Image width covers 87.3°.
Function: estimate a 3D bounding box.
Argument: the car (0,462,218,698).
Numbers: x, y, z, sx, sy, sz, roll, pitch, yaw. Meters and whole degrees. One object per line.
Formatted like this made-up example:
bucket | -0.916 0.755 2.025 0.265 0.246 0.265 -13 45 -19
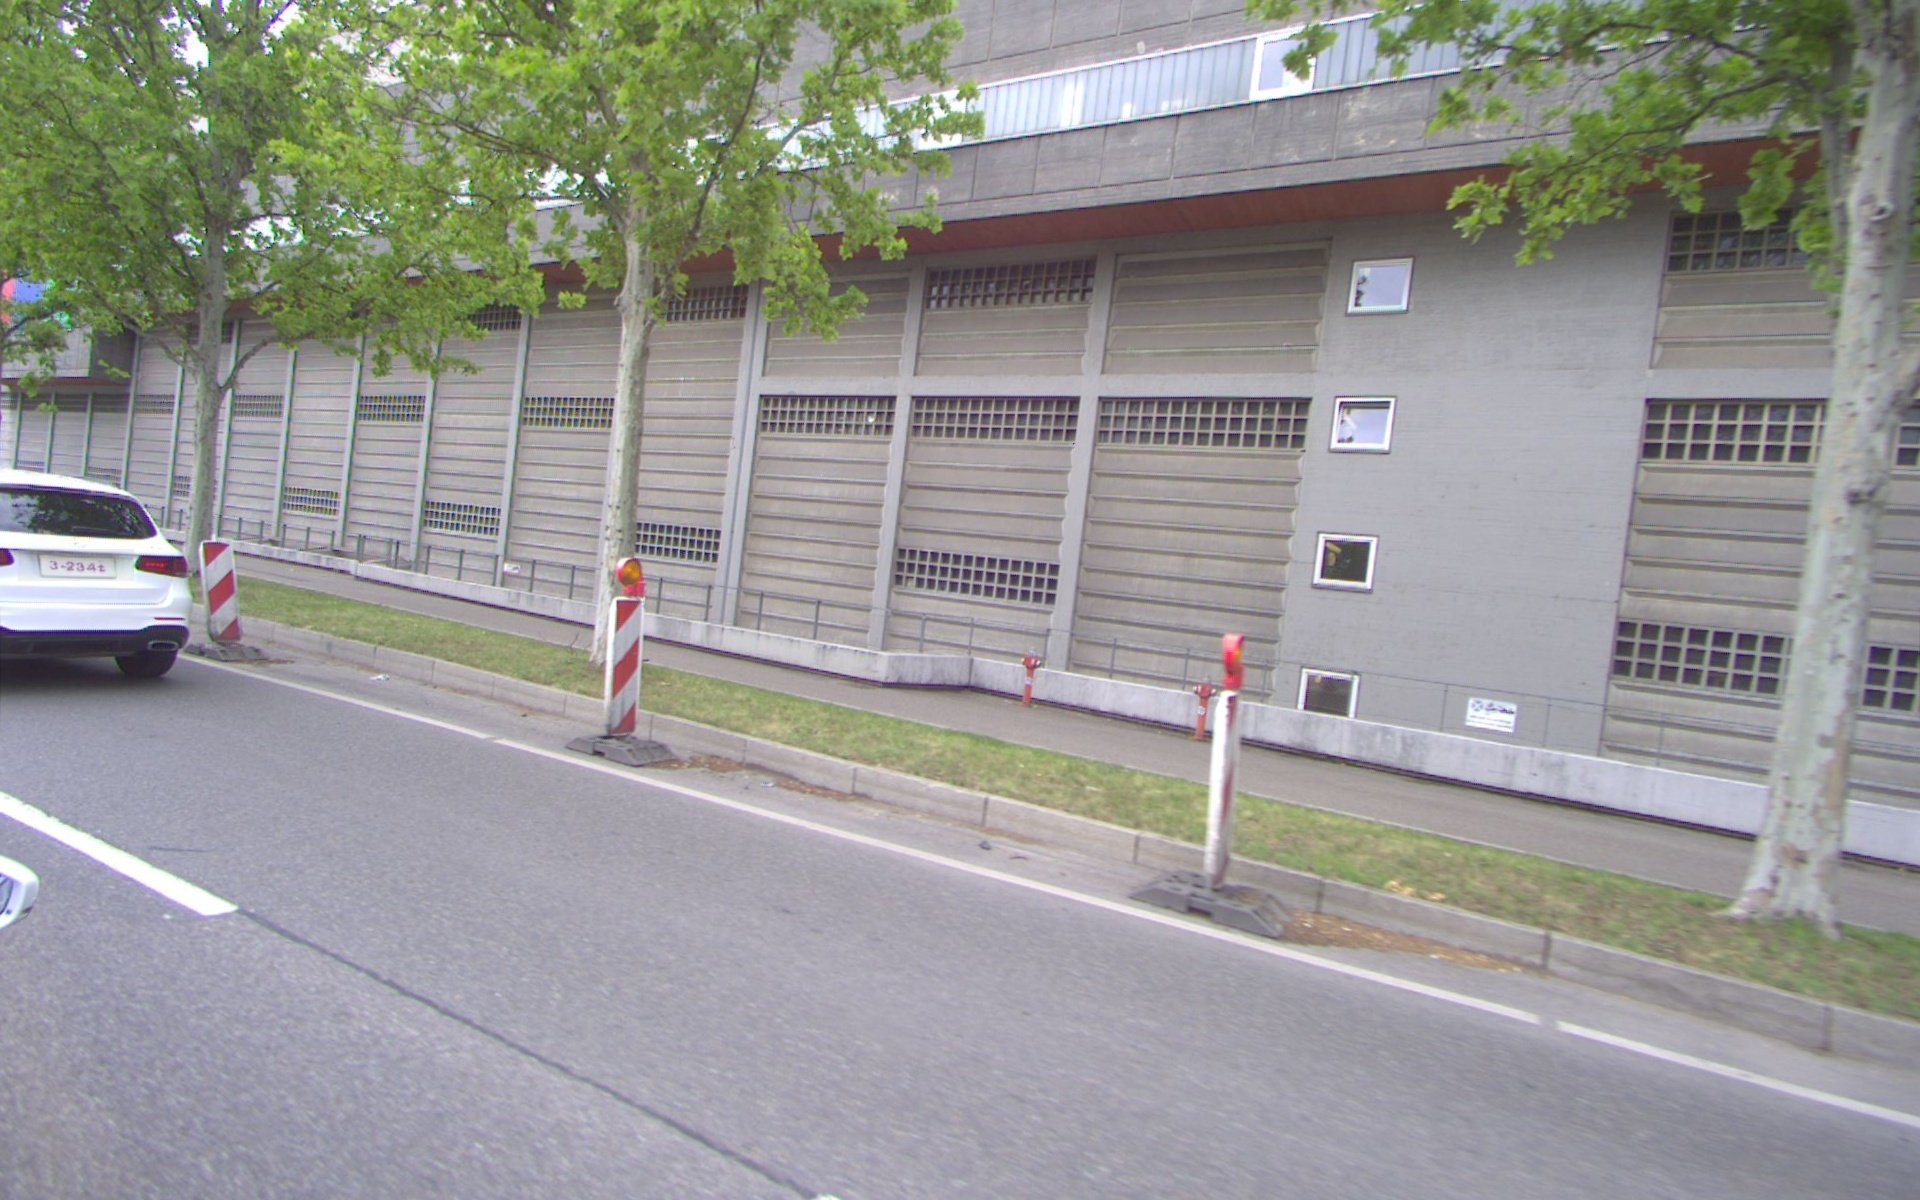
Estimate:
car | -8.511 -0.339 8.552 4.474 1.665 1.813 6 2 29
